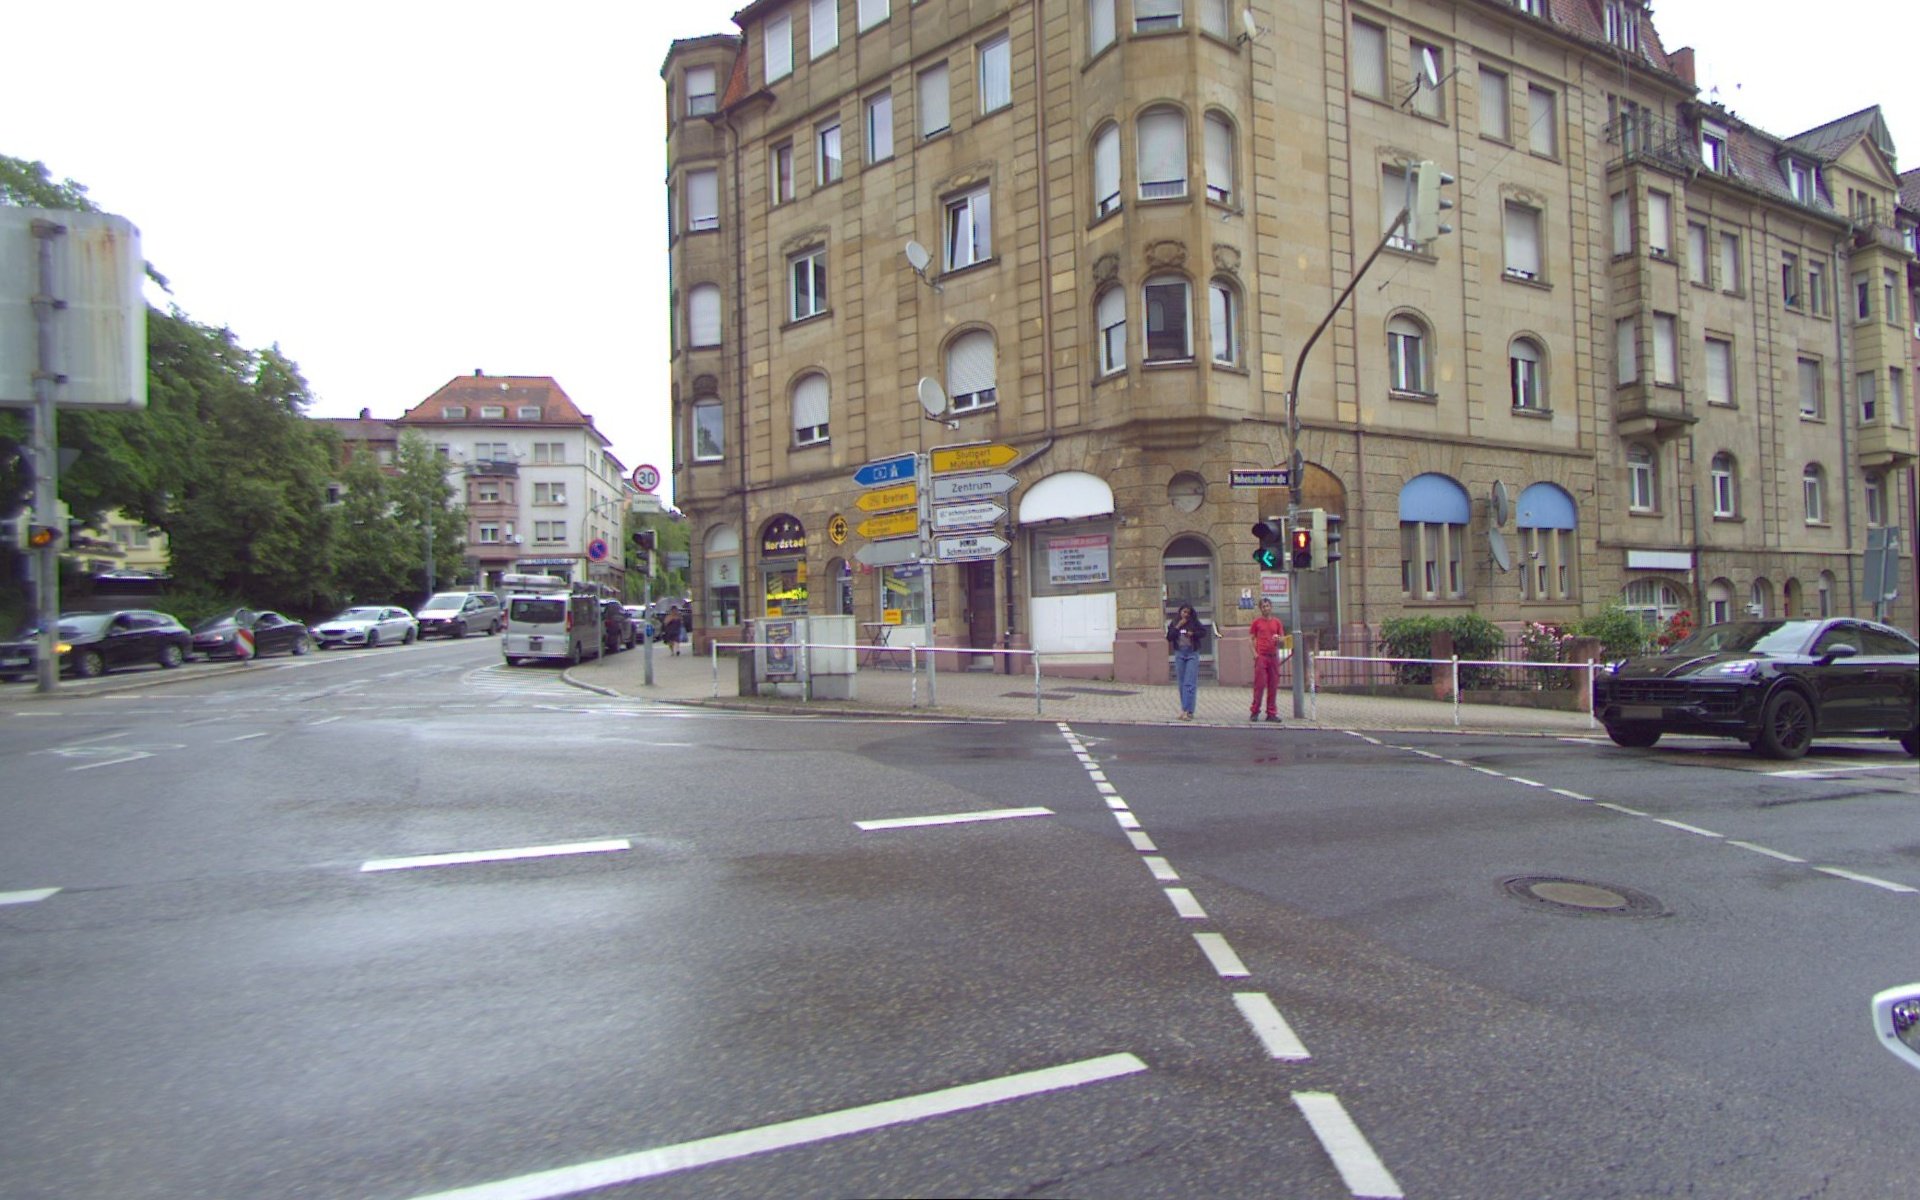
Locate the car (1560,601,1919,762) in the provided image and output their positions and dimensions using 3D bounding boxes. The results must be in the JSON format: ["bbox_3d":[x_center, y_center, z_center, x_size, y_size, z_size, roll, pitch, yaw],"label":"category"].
[{"bbox_3d":[10.079,1.015,12.499,4.735,1.715,1.963,3,-3,-20],"label":"car"}]

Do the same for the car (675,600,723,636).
[{"bbox_3d":[-13.611,0.943,52.564,1.964,1.726,4.209,1,-1,-9],"label":"car"}]

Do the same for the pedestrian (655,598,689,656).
[{"bbox_3d":[-8.462,0.798,29.490,0.775,1.683,0.664,2,-1,-34],"label":"pedestrian"}]

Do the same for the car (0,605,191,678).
[{"bbox_3d":[-19.770,0.898,22.871,1.733,1.511,4.020,-1,-1,-6],"label":"car"}]

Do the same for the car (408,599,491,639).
[{"bbox_3d":[-21.730,0.830,42.936,1.706,1.558,4.151,3,-2,-6],"label":"car"}]

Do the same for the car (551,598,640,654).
[{"bbox_3d":[-12.195,0.880,33.895,1.964,1.726,4.375,1,-1,-9],"label":"car"}]

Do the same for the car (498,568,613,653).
[{"bbox_3d":[-11.523,0.336,28.997,1.964,2.197,4.797,1,-1,-9],"label":"car"}]

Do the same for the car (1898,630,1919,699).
[{"bbox_3d":[29.222,1.869,27.710,1.846,1.964,4.640,2,-1,-37],"label":"car"}]

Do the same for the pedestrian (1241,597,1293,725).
[{"bbox_3d":[4.444,0.868,14.561,0.680,1.797,0.524,1,-1,17],"label":"pedestrian"}]

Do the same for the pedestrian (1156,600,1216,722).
[{"bbox_3d":[3.310,0.872,14.701,0.812,1.724,0.639,1,-1,13],"label":"pedestrian"}]

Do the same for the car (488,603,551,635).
[{"bbox_3d":[-22.348,0.947,51.079,1.705,1.558,4.151,-1,-1,-6],"label":"car"}]

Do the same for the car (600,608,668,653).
[{"bbox_3d":[-13.238,1.218,41.033,1.963,1.727,4.209,0,-1,-9],"label":"car"}]

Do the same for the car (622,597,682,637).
[{"bbox_3d":[-13.994,0.783,45.827,1.964,1.726,4.209,1,-1,-9],"label":"car"}]

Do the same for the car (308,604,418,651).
[{"bbox_3d":[-21.072,0.960,35.658,1.705,1.558,4.299,-1,-1,-6],"label":"car"}]

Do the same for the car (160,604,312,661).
[{"bbox_3d":[-20.538,0.892,28.708,1.733,1.511,4.020,-1,-1,-6],"label":"car"}]

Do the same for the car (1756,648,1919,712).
[{"bbox_3d":[23.889,2.064,26.502,1.849,1.530,4.132,2,-2,-27],"label":"car"}]
